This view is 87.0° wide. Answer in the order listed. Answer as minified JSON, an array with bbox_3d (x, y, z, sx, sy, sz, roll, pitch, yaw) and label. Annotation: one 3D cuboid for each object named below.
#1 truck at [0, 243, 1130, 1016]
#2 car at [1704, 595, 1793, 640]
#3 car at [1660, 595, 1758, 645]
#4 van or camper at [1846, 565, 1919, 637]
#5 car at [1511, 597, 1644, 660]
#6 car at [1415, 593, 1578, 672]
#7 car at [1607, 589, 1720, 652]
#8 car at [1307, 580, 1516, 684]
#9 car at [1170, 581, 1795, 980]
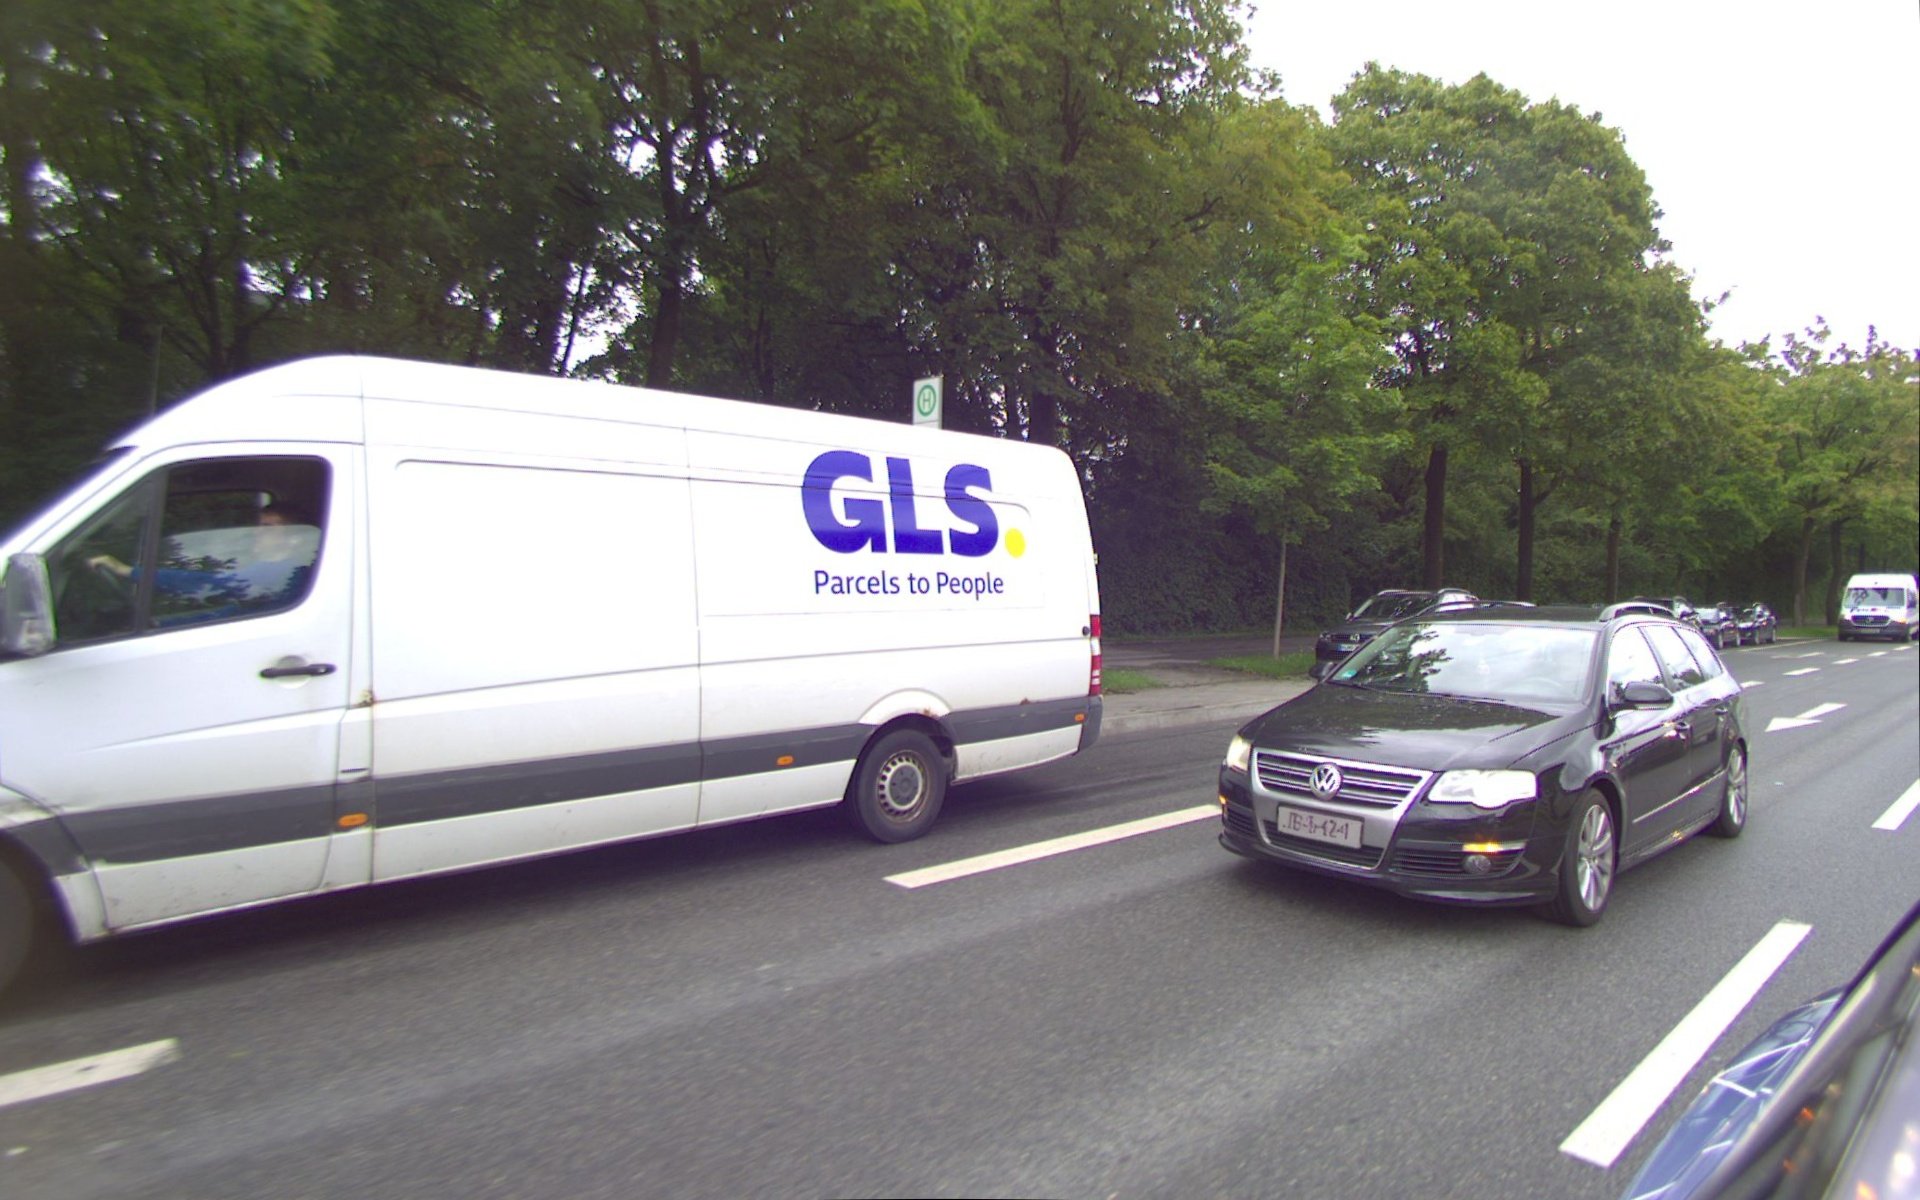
[{"bbox_3d":[-2.068,0.084,5.846,7.101,2.636,1.997,0,0,-41],"label":"truck"},{"bbox_3d":[28.118,0.588,36.037,4.181,1.485,1.750,0,1,-41],"label":"car"},{"bbox_3d":[24.402,0.609,32.927,3.968,1.485,1.750,0,1,-41],"label":"car"},{"bbox_3d":[36.512,0.018,39.220,6.948,2.593,2.183,0,1,-40],"label":"van or camper"},{"bbox_3d":[15.860,0.661,25.918,4.181,1.446,1.750,0,1,-41],"label":"car"},{"bbox_3d":[11.845,0.645,22.241,4.320,1.543,1.750,0,1,-41],"label":"car"},{"bbox_3d":[20.480,0.548,29.398,4.181,1.670,1.750,0,1,-41],"label":"car"},{"bbox_3d":[8.347,0.498,18.556,4.320,1.670,1.882,0,1,-41],"label":"car"},{"bbox_3d":[3.350,0.661,5.978,4.590,1.493,1.750,0,0,-41],"label":"car"}]
